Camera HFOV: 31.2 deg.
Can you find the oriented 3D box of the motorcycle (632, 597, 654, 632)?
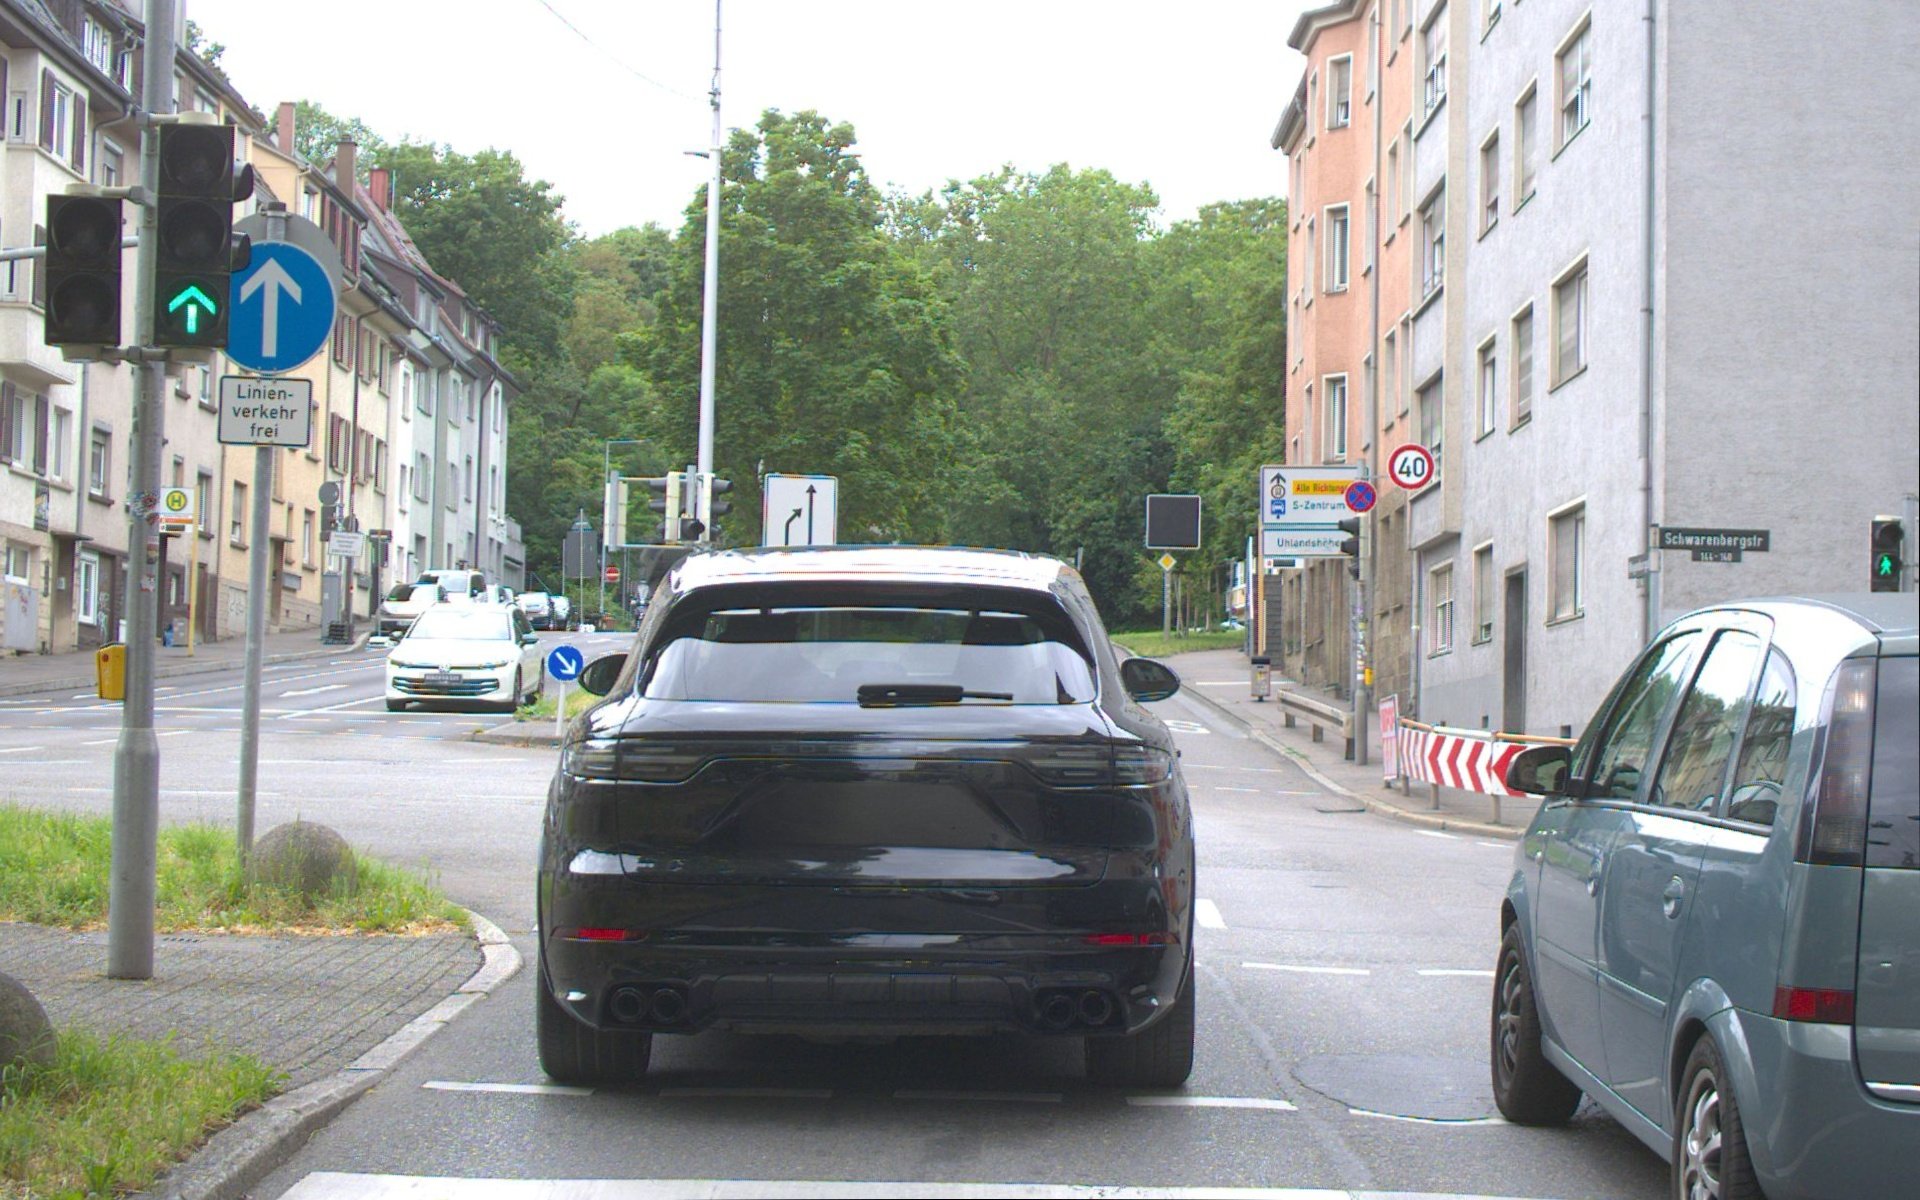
[{"bbox_3d":[-9.515,0.421,103.111,0.511,1.037,1.389,1,0,0],"label":"motorcycle"}]

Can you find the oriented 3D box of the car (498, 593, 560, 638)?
[{"bbox_3d":[-15.271,0.535,121.883,1.689,1.533,3.813,1,0,0],"label":"car"}]

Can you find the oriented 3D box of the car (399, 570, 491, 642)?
[{"bbox_3d":[-15.172,0.163,101.514,2.016,2.038,4.666,1,0,0],"label":"car"}]

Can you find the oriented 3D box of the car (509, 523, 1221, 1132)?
[{"bbox_3d":[-0.283,0.626,11.482,1.955,1.669,4.000,0,0,-1],"label":"car"}]

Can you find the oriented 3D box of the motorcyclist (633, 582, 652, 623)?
[{"bbox_3d":[-9.509,0.068,103.074,0.511,1.222,0.467,1,0,0],"label":"motorcyclist"}]

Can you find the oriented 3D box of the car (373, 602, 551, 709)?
[{"bbox_3d":[-6.841,0.741,47.569,1.862,1.383,4.094,1,0,0],"label":"car"}]

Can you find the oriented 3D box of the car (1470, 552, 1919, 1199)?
[{"bbox_3d":[2.454,0.752,8.744,1.628,1.592,3.669,4,0,-1],"label":"car"}]

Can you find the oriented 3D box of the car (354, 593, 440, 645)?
[{"bbox_3d":[-15.659,0.519,95.781,1.739,1.382,3.813,1,0,0],"label":"car"}]

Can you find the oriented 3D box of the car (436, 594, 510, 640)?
[{"bbox_3d":[-15.193,0.518,107.367,1.739,1.382,3.813,1,0,0],"label":"car"}]

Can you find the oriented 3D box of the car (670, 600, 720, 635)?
[{"bbox_3d":[-9.841,0.638,127.906,1.551,1.253,3.662,1,0,0],"label":"car"}]
